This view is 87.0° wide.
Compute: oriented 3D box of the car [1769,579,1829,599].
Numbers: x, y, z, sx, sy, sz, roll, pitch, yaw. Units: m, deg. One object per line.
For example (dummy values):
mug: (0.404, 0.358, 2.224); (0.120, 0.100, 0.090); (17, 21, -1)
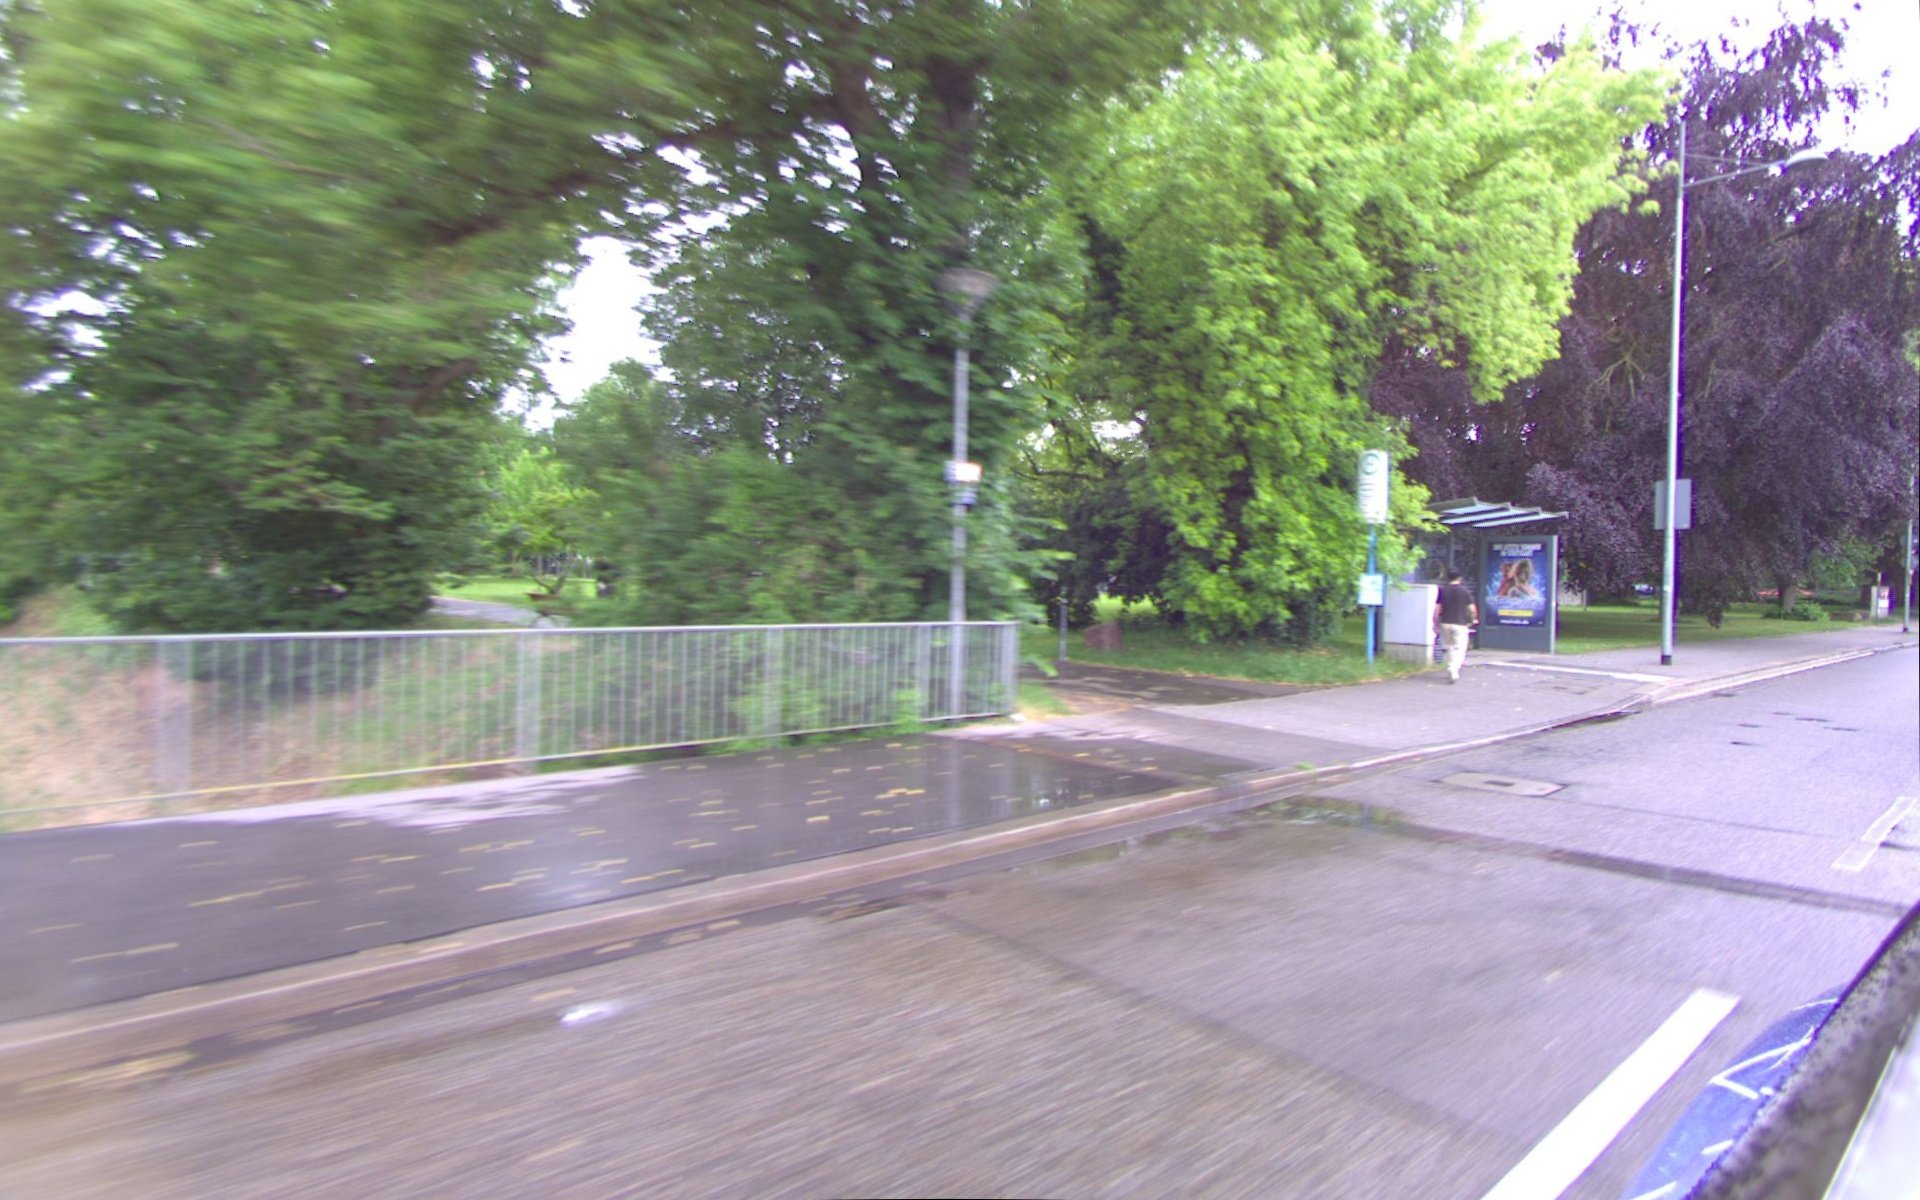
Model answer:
car: (76.518, -1.019, 92.346); (1.966, 1.737, 3.992); (0, 2, -43)

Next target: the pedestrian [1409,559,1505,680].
pedestrian: (7.464, 0.260, 15.187); (1.147, 1.696, 0.849); (-1, 4, -41)

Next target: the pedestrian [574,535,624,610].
pedestrian: (-8.818, -0.672, 24.706); (1.057, 1.774, 0.770); (2, 2, 45)
